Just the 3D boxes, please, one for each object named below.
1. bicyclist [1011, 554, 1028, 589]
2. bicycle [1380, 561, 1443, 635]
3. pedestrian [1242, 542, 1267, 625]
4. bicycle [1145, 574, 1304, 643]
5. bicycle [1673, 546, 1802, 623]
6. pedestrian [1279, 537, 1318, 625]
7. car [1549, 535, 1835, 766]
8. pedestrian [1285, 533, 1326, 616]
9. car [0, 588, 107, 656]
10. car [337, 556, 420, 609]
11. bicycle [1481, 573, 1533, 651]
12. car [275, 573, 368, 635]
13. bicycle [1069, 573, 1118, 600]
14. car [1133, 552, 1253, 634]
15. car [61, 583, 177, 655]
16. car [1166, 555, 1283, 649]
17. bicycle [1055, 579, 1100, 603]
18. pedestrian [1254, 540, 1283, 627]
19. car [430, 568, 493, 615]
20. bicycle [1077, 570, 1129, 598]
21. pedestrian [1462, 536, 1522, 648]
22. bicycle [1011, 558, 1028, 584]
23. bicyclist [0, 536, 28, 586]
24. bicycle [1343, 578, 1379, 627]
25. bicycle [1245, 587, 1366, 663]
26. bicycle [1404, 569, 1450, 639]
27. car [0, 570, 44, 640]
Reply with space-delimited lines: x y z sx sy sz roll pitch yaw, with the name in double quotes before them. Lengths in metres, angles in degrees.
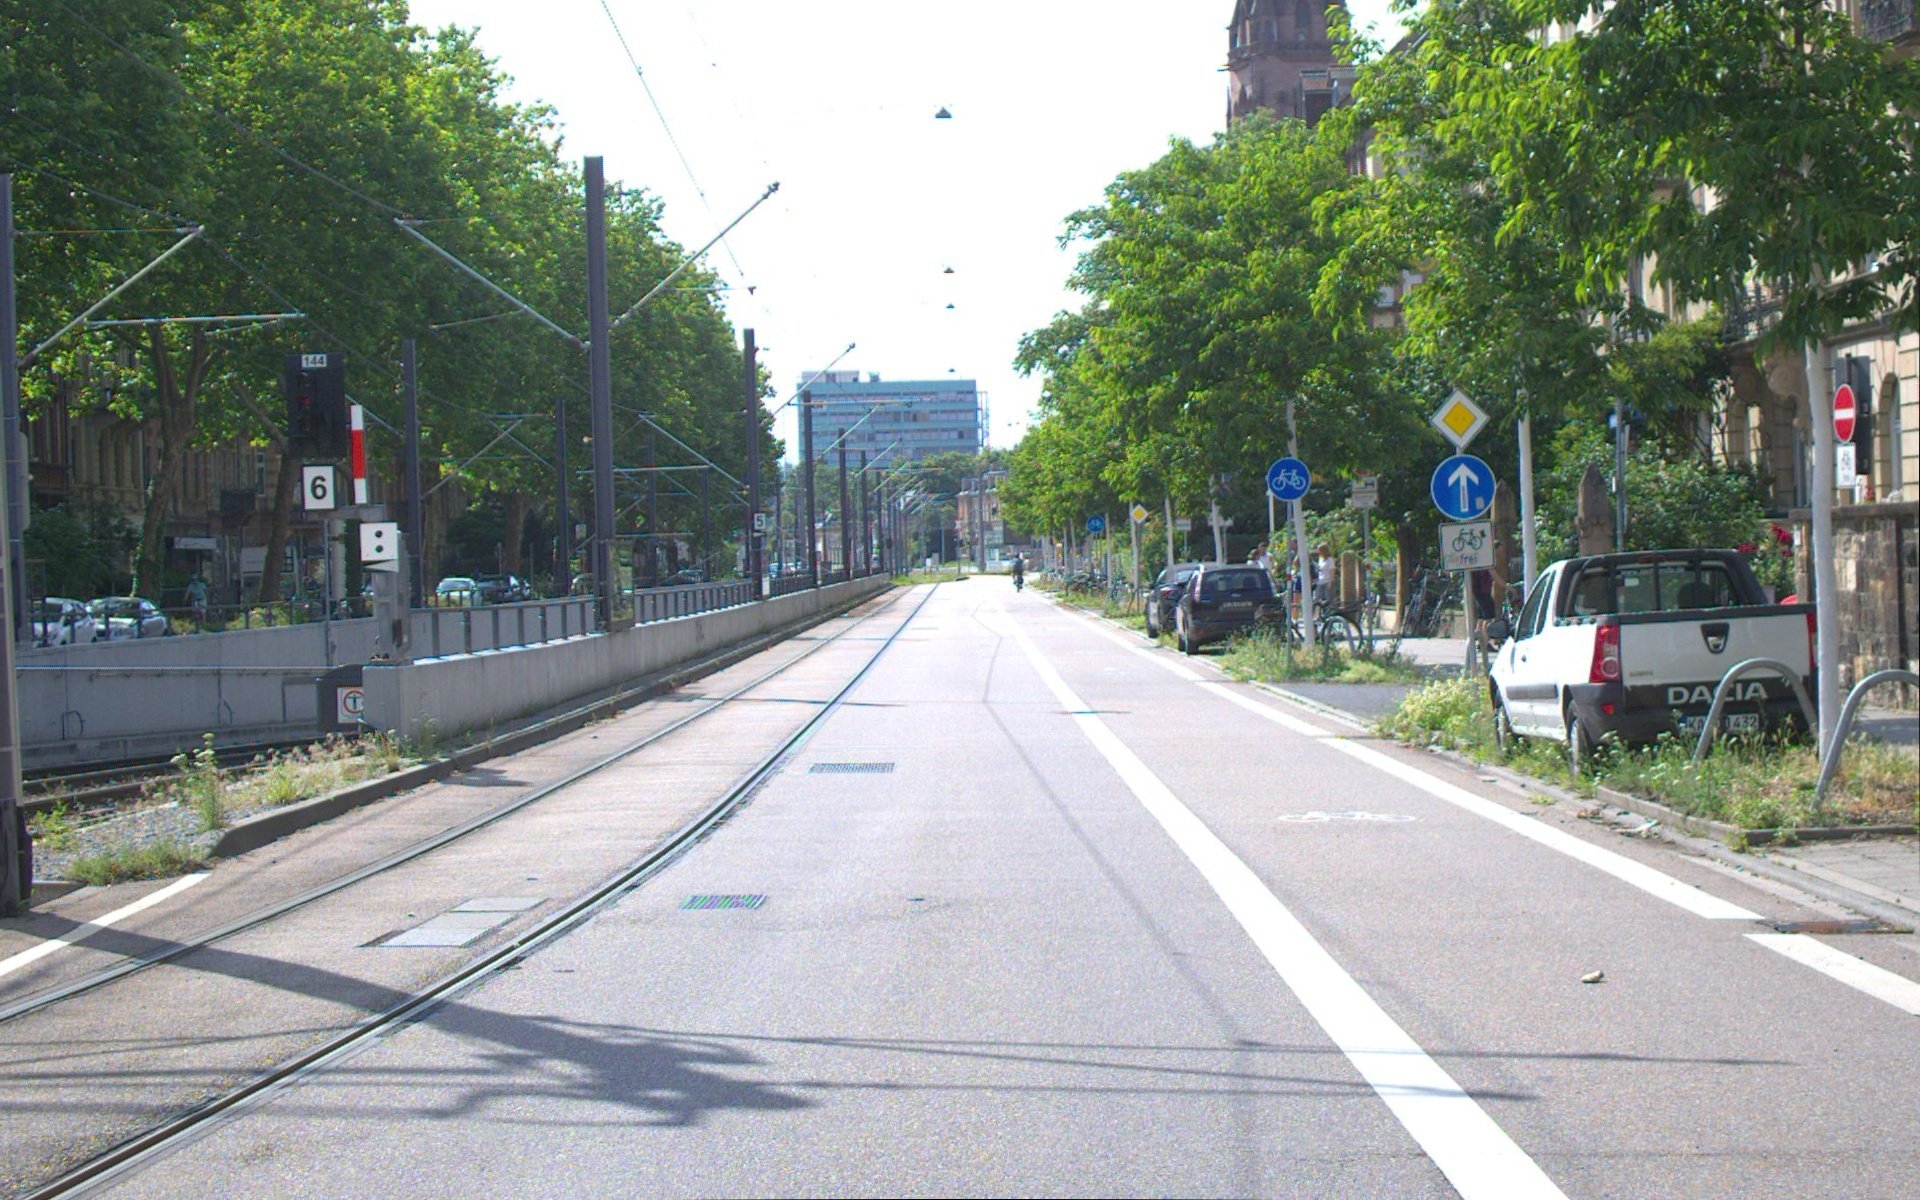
"bicyclist" 2.952 -1.414 169.898 0.770 1.724 1.026 -2 1 1
"bicycle" 8.069 -0.059 61.557 0.658 1.244 2.943 -5 1 0
"pedestrian" 6.148 -0.349 71.792 0.318 1.701 0.460 -4 1 14
"bicycle" 5.138 0.156 66.835 2.945 1.242 0.793 -2 0 -12
"bicycle" 12.481 -0.253 55.200 1.888 1.065 0.471 -5 1 -5
"pedestrian" 7.154 -0.401 72.722 0.669 1.798 0.319 -4 1 -1
"car" 5.046 0.296 24.084 1.669 1.411 3.843 -2 1 9
"pedestrian" 7.110 -0.523 70.803 0.528 1.670 0.575 -4 1 -18
"car" -19.666 0.464 74.091 1.497 1.299 3.491 -4 1 2
"car" -20.436 -0.631 120.987 1.994 1.631 4.000 -4 1 2
"bicycle" 8.059 0.170 50.719 0.470 1.104 1.711 -2 0 0
"car" -19.743 0.115 106.479 1.718 1.685 3.729 -4 2 7
"bicycle" 5.207 -0.537 134.058 1.816 0.899 0.604 -4 1 -3
"car" 4.728 -0.169 70.355 1.798 1.521 4.490 -4 1 -3
"car" -19.665 0.427 80.539 1.643 1.477 4.002 -4 1 0
"car" 4.596 0.008 60.338 1.686 1.497 4.708 -2 1 1
"bicycle" 4.975 -0.374 145.331 1.816 0.899 0.604 -4 1 -3
"pedestrian" 6.521 -0.346 72.745 0.459 1.798 0.319 -4 1 -1
"car" -20.160 -0.364 139.179 1.839 1.722 4.000 -4 1 0
"bicycle" 5.365 -0.602 129.119 1.816 0.899 0.652 -4 1 -3
"pedestrian" 7.852 -0.115 50.780 0.723 1.623 0.725 -2 0 0
"bicycle" 2.952 -1.447 169.864 0.799 1.232 2.777 -2 1 1
"bicyclist" -28.193 -1.159 102.163 0.688 1.450 1.044 -2 0 0
"bicycle" 8.007 0.041 68.690 0.427 0.936 1.807 -5 1 0
"bicycle" 5.145 0.372 51.249 1.705 1.066 0.471 -2 0 -5
"bicycle" 7.965 0.056 58.702 0.427 1.136 2.023 -5 1 0
"car" -28.247 0.173 96.689 4.401 1.912 2.000 -2 1 -1
